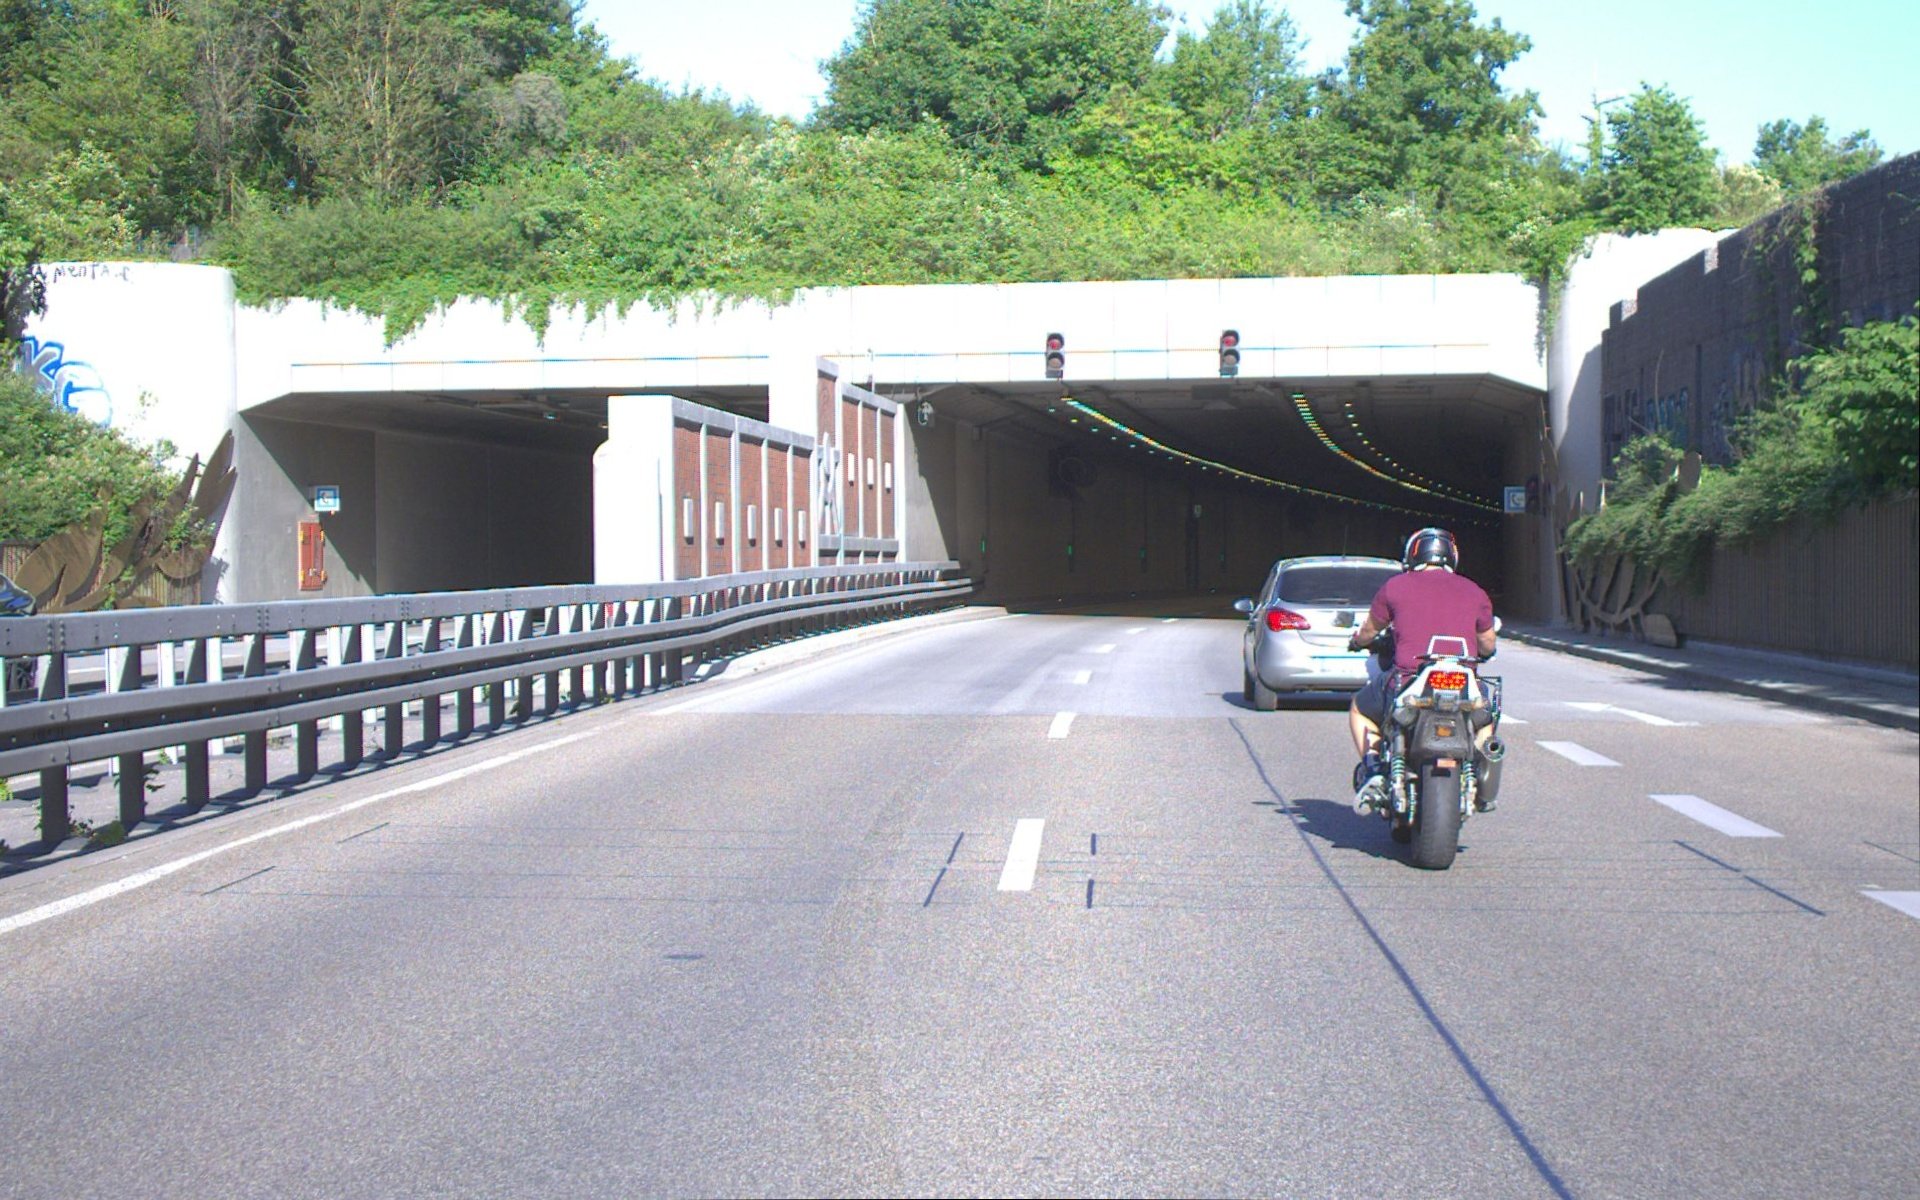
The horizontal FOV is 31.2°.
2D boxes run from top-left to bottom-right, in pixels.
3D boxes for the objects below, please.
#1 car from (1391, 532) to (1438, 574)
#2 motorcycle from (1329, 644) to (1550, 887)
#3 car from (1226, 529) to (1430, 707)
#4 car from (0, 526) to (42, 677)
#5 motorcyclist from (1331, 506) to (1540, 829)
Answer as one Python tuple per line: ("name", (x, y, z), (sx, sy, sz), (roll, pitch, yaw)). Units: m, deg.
("car", (21.965, -2.277, 166.200), (1.994, 1.919, 3.998), (0, 2, 11))
("motorcycle", (2.273, 0.753, 16.608), (0.858, 0.988, 2.728), (1, 1, 4))
("car", (3.527, 0.122, 33.508), (1.667, 1.546, 4.000), (1, 2, 2))
("car", (-11.626, 0.049, 37.510), (1.667, 1.669, 4.863), (1, 2, 3))
("motorcyclist", (2.292, 0.303, 16.707), (0.883, 1.496, 1.063), (1, 2, 2))
